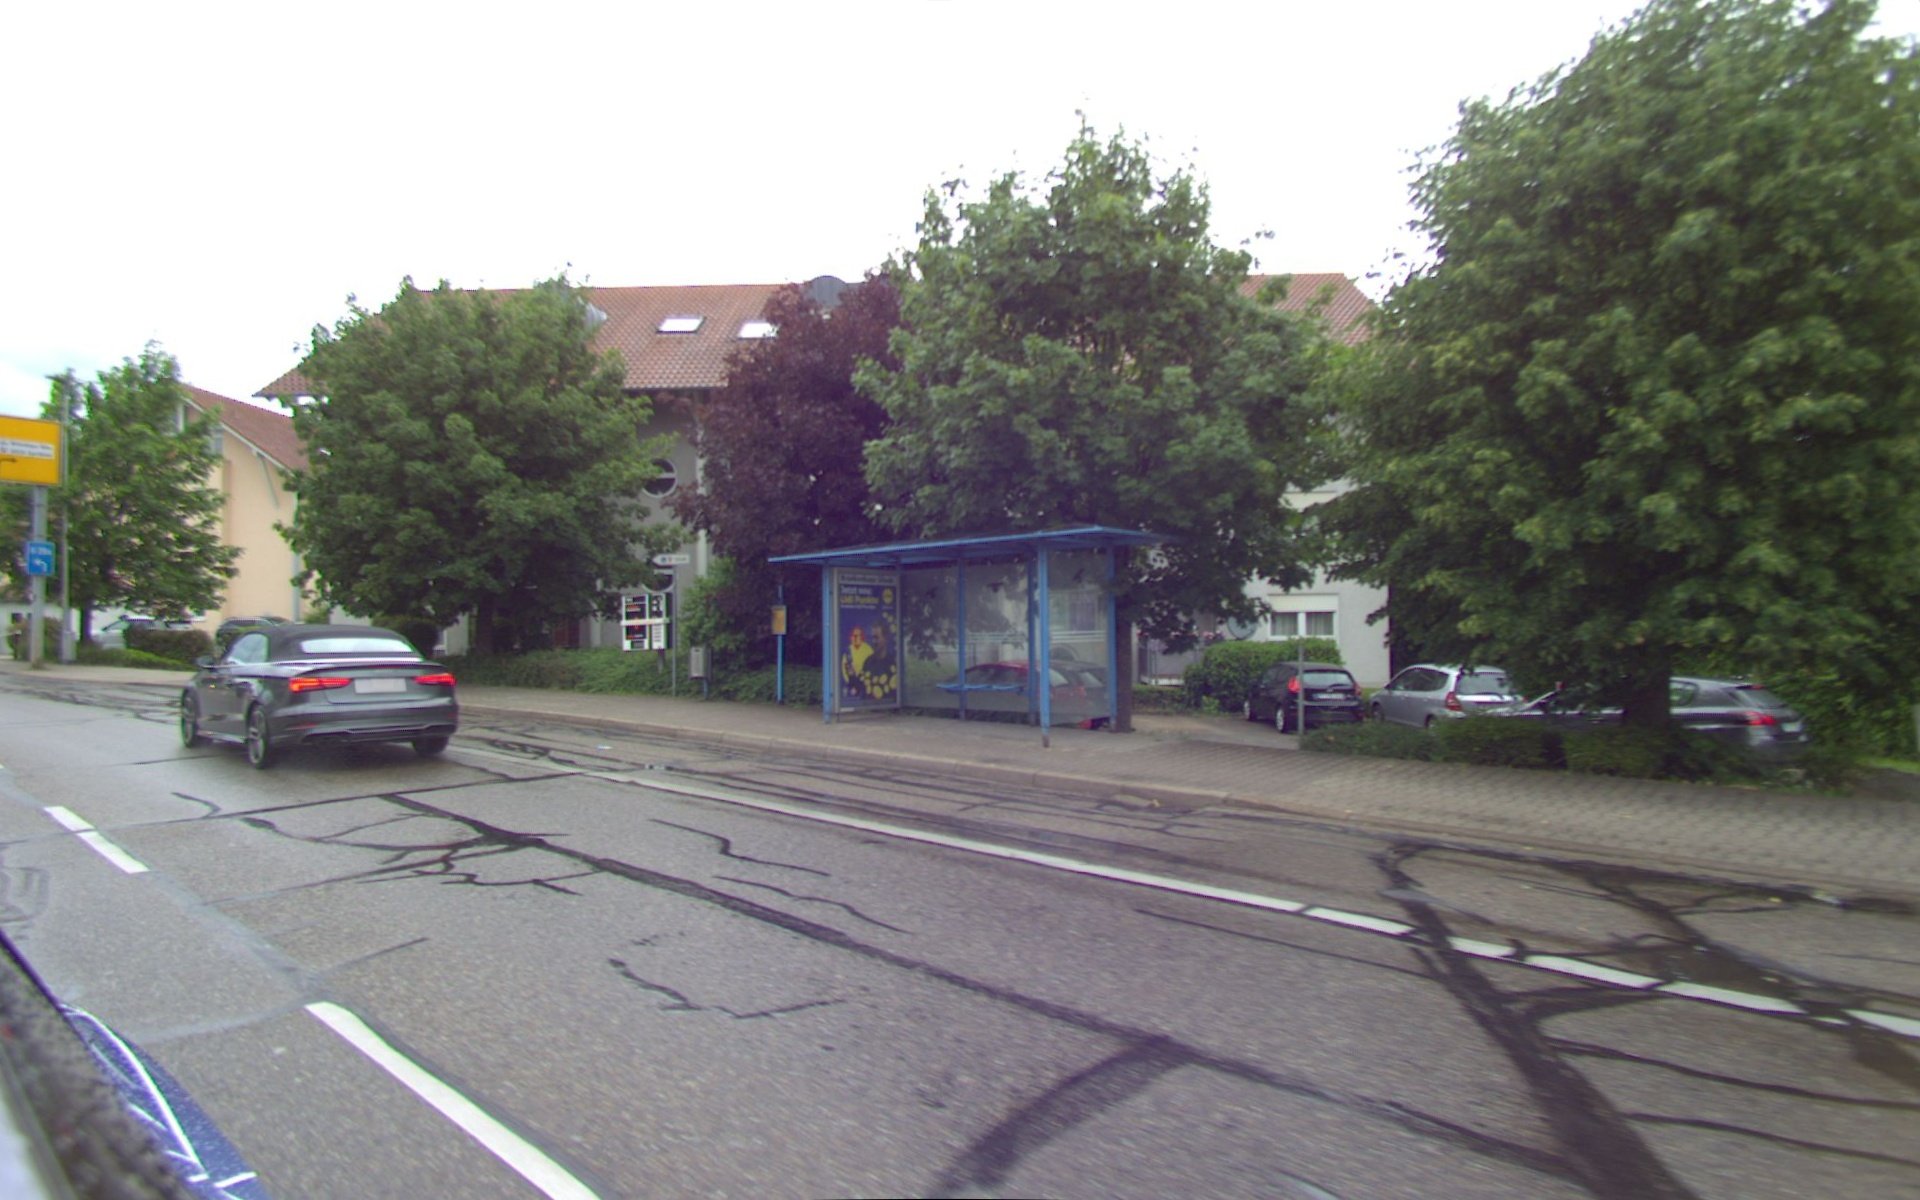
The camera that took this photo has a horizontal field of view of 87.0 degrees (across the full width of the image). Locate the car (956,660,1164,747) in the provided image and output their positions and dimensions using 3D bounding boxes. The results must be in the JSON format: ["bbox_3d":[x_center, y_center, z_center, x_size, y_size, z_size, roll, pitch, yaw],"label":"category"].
[{"bbox_3d":[1.991,2.030,20.679,3.992,1.475,1.596,-1,-1,36],"label":"car"}]

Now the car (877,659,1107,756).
[{"bbox_3d":[0.534,1.912,18.797,3.992,1.475,1.753,-1,-1,36],"label":"car"}]

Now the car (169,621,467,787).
[{"bbox_3d":[-7.016,0.964,10.903,3.998,1.454,1.656,-1,-1,41],"label":"car"}]

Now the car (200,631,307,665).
[{"bbox_3d":[-29.502,1.983,42.303,3.392,1.392,1.516,0,-2,1],"label":"car"}]

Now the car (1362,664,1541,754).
[{"bbox_3d":[9.610,2.077,20.111,1.646,1.443,3.716,0,-1,-1],"label":"car"}]

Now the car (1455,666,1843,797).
[{"bbox_3d":[9.631,1.805,14.417,1.968,1.432,4.174,9,-7,-38],"label":"car"}]

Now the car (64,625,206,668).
[{"bbox_3d":[-31.058,1.746,38.162,3.944,1.614,1.737,0,-2,1],"label":"car"}]

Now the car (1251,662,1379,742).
[{"bbox_3d":[7.482,2.112,21.655,1.648,1.405,3.428,0,-1,3],"label":"car"}]
